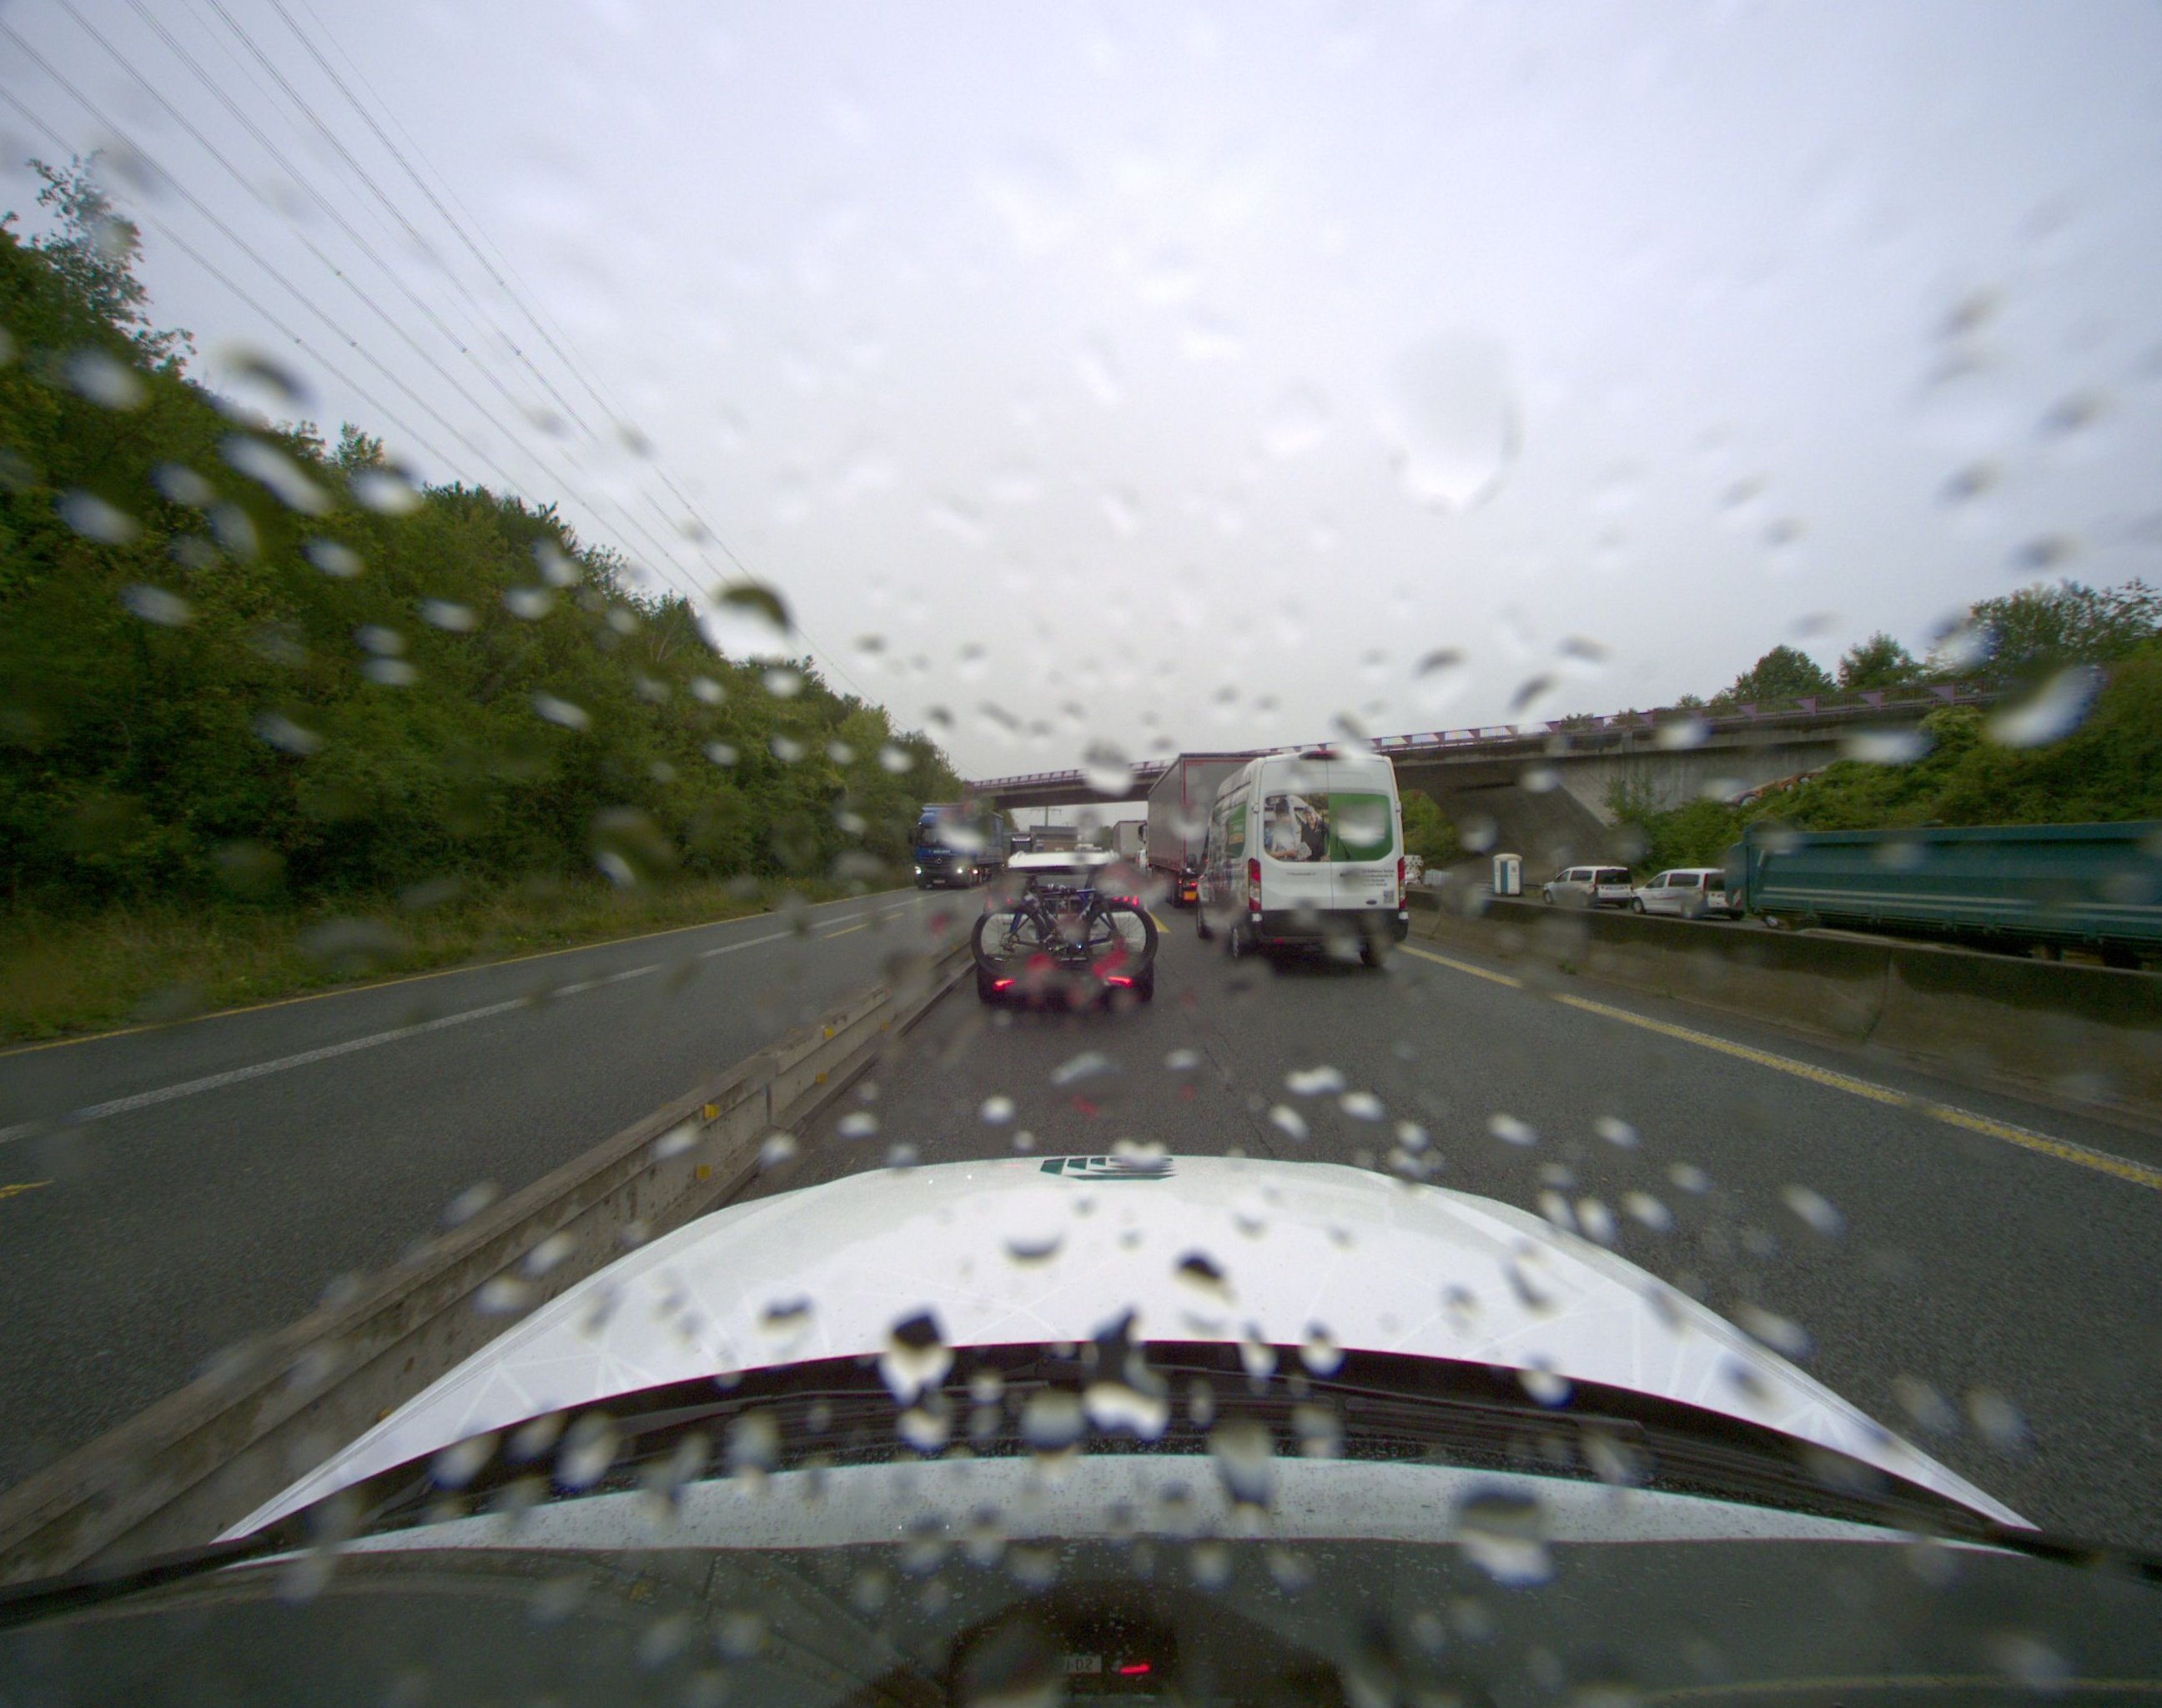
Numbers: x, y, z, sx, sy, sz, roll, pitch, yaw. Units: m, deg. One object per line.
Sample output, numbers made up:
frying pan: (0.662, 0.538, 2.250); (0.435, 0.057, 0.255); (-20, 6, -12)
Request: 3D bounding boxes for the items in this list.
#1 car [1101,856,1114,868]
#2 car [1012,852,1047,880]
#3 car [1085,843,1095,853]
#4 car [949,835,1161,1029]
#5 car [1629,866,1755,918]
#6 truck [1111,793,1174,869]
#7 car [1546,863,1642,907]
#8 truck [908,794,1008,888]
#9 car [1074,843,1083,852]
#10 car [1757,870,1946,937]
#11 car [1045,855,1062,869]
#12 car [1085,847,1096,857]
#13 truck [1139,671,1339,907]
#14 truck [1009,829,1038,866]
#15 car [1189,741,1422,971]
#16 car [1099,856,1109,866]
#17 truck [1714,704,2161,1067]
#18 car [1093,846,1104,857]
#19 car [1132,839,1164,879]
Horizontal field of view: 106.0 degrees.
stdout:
car: (3.369, 0.985, 102.551); (1.632, 1.497, 3.667); (-1, 0, 2)
car: (-3.090, 0.689, 49.441); (1.777, 1.610, 4.104); (-1, 0, 0)
car: (1.978, -1.292, 178.058); (2.231, 2.307, 4.573); (-1, -1, 2)
car: (-0.110, 0.681, 9.254); (1.803, 1.637, 4.638); (-1, 0, 3)
car: (22.252, 1.338, 29.871); (1.721, 1.745, 4.128); (-1, 0, 4)
truck: (5.155, -1.680, 71.568); (4.723, 5.673, 20.389); (-1, 0, 3)
car: (22.516, 1.321, 35.947); (1.839, 1.809, 4.161); (-1, 0, 4)
truck: (-6.208, -0.521, 44.468); (2.757, 4.123, 16.925); (-1, 0, 0)
car: (-0.662, -1.612, 208.397); (1.986, 2.126, 4.528); (-1, 0, 2)
car: (22.264, 1.354, 23.783); (1.722, 1.725, 4.127); (-1, 0, 3)
car: (-3.066, 0.928, 91.744); (1.933, 1.494, 3.997); (-1, 0, -2)
car: (1.934, -0.460, 164.979); (1.986, 2.014, 4.001); (-1, -1, 2)
truck: (4.533, -1.500, 29.865); (3.964, 5.673, 20.383); (-1, 0, 2)
truck: (-6.542, -0.671, 93.927); (2.456, 4.123, 10.088); (-1, 0, 0)
car: (3.022, 0.049, 12.584); (2.136, 2.676, 6.120); (-1, 0, 2)
car: (3.656, 1.149, 129.391); (1.632, 1.497, 3.667); (-1, 0, 2)
truck: (10.608, 0.266, 7.620); (2.511, 3.132, 9.122); (-1, 0, 2)
car: (3.115, -0.437, 146.339); (1.987, 2.014, 4.000); (-1, -1, 0)
car: (3.745, 0.276, 46.367); (1.663, 2.180, 4.538); (-1, -1, 3)
